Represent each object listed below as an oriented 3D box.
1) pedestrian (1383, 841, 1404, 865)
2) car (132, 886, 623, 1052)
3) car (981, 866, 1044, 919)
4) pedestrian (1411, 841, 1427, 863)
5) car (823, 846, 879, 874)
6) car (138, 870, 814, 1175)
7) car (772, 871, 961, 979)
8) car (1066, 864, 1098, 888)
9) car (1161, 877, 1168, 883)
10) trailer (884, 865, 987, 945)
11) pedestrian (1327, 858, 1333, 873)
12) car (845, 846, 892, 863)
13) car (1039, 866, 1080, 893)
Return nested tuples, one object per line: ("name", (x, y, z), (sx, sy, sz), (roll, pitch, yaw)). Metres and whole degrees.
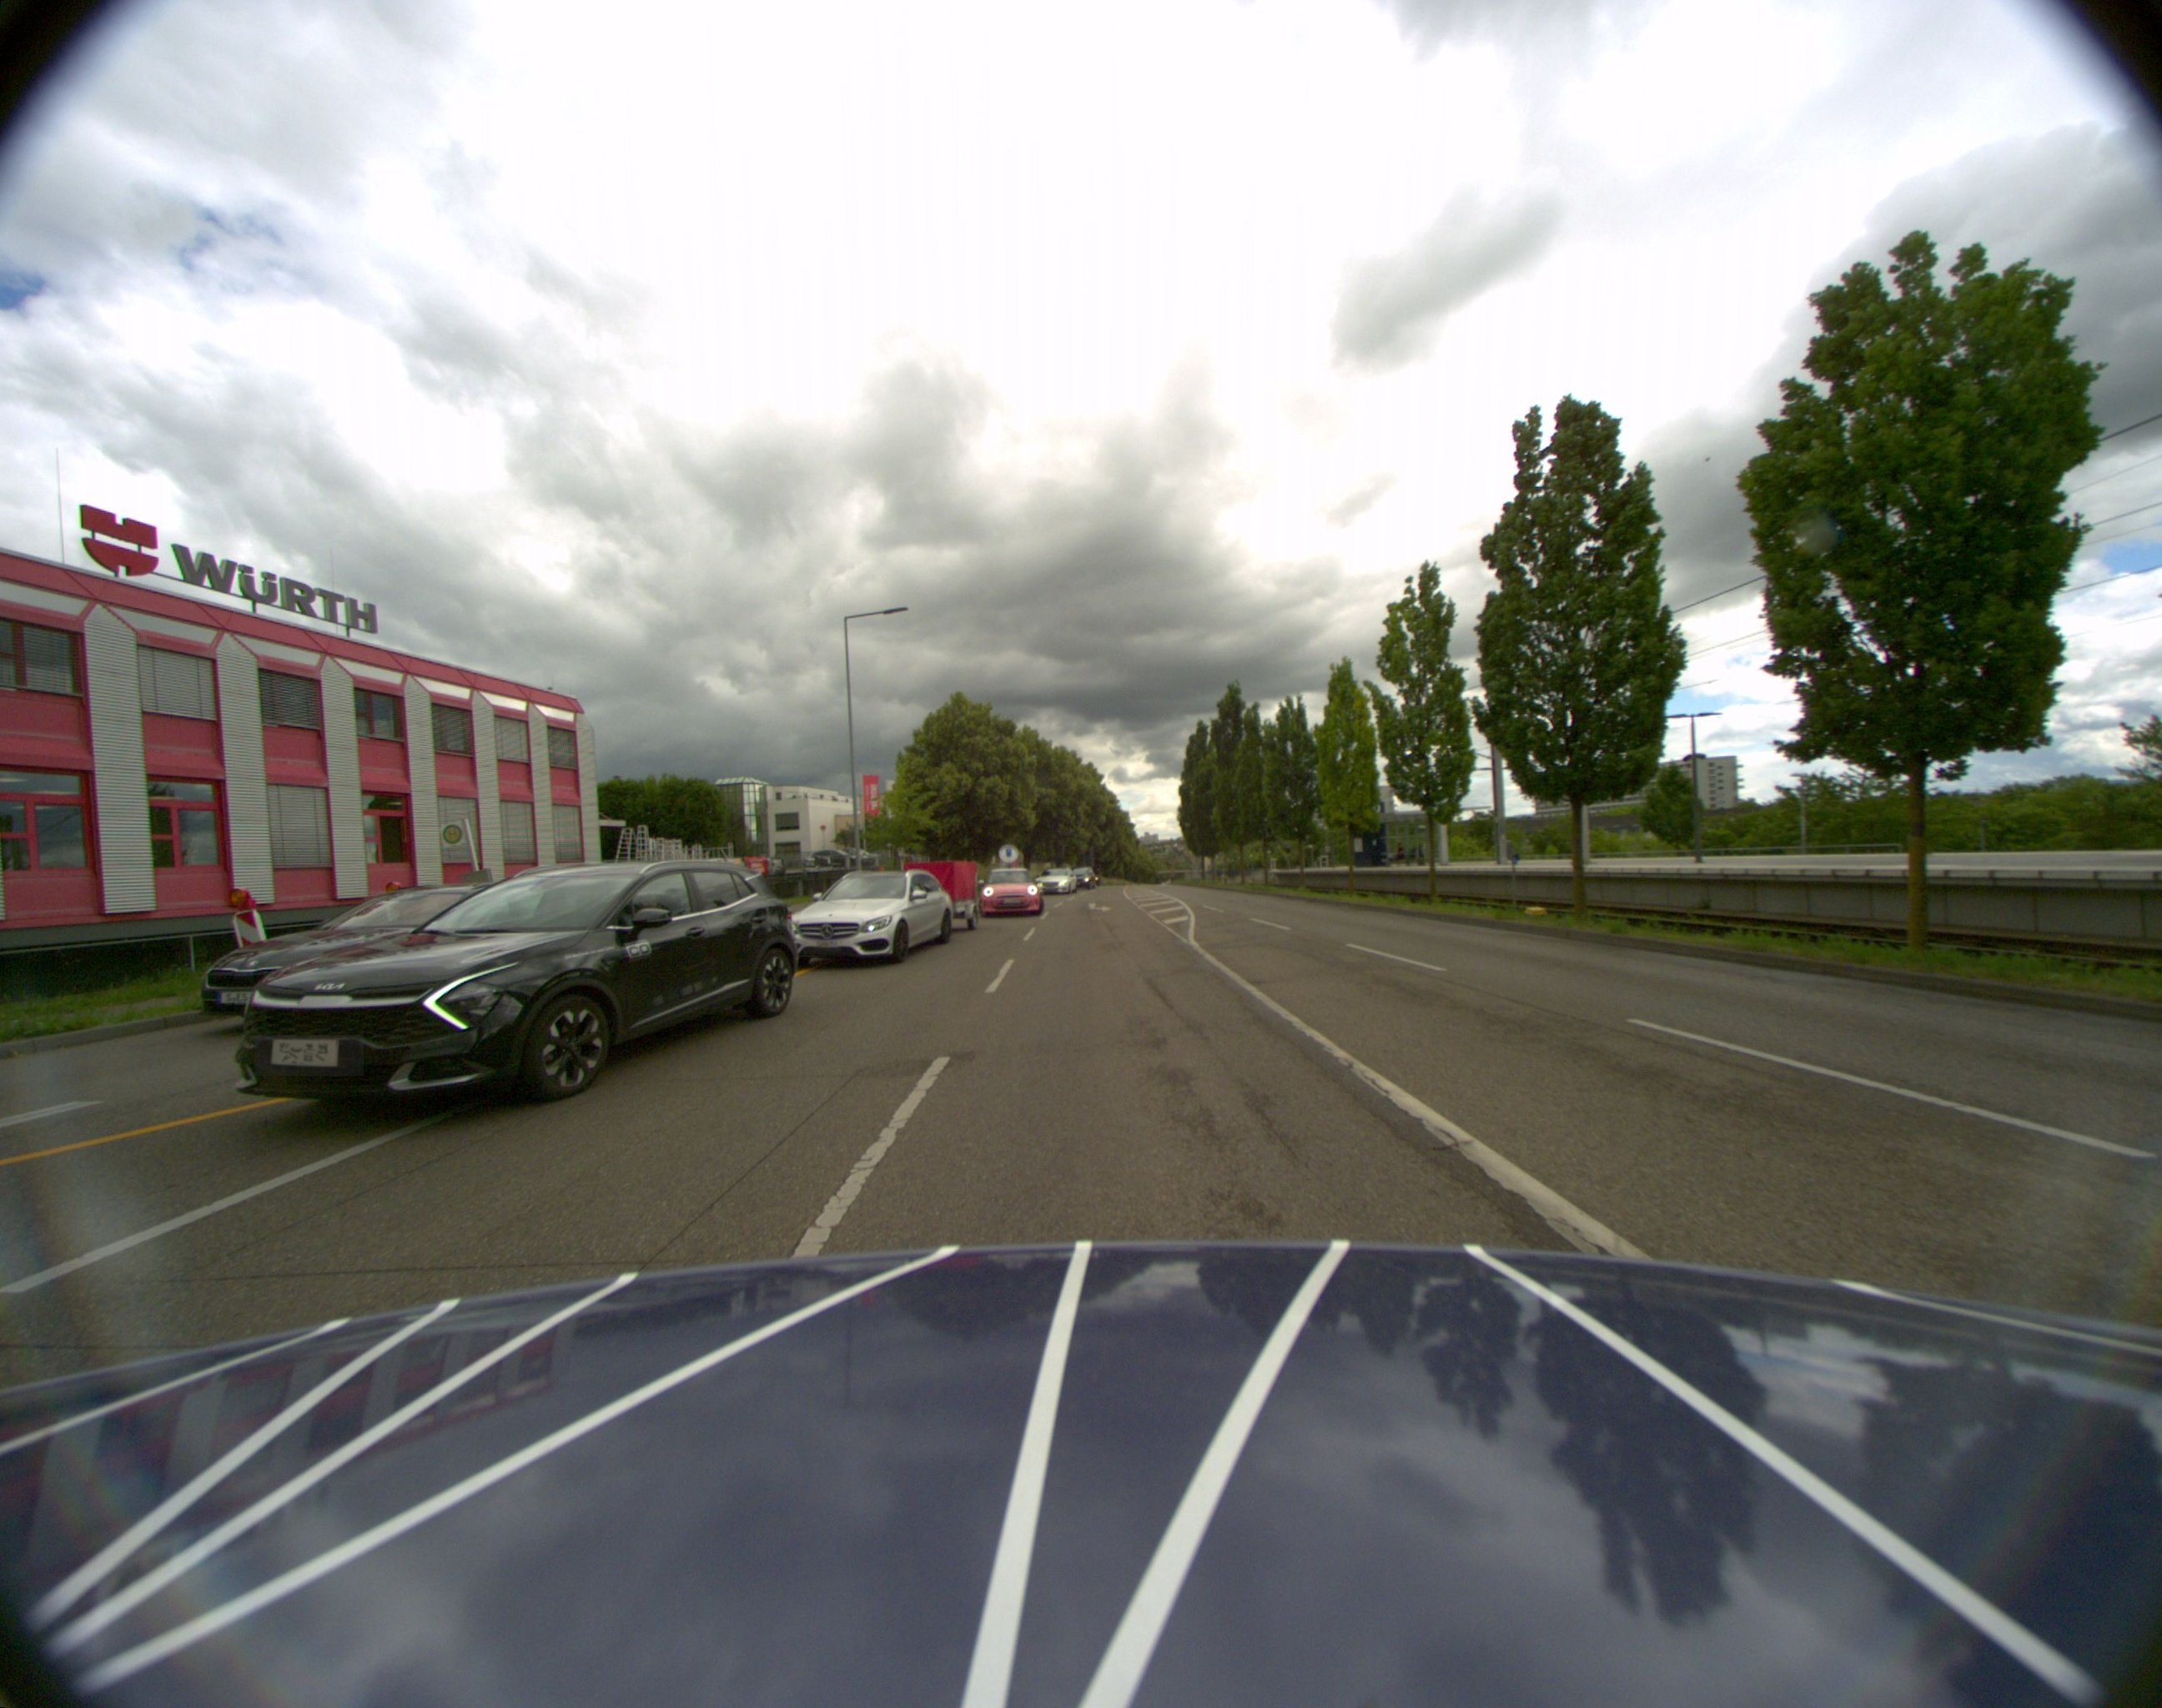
("pedestrian", (16.334, -0.043, 39.736), (0.763, 1.192, 0.665), (-2, 0, 0))
("car", (-8.226, 1.230, 9.574), (1.839, 1.424, 4.281), (-2, 0, 9))
("car", (-2.087, 1.117, 23.369), (1.723, 1.448, 3.695), (-2, -1, -5))
("pedestrian", (17.227, -0.102, 38.744), (0.608, 1.072, 0.470), (-2, -1, 0))
("car", (-17.870, 0.466, 59.204), (3.762, 1.946, 1.645), (-3, -2, 10))
("car", (-4.224, 1.002, 6.468), (1.848, 1.552, 4.406), (-2, 0, 7))
("car", (-3.474, 1.084, 13.286), (1.675, 1.439, 4.491), (-2, 0, 5))
("car", (0.102, 1.454, 51.014), (1.805, 1.439, 4.001), (-2, 0, 5))
("car", (21.417, 6.703, 194.898), (1.719, 1.512, 3.748), (-2, -2, 7))
("trailer", (-3.176, 1.068, 17.187), (1.412, 1.584, 3.304), (-2, 0, 5))
("pedestrian", (27.545, 1.301, 83.992), (0.508, 1.615, 0.646), (-2, -1, 6))
("car", (-20.360, 0.056, 72.933), (3.933, 1.473, 1.757), (-3, -1, 10))
("car", (-1.134, 1.372, 41.159), (1.739, 1.365, 4.003), (-2, -2, 5))
